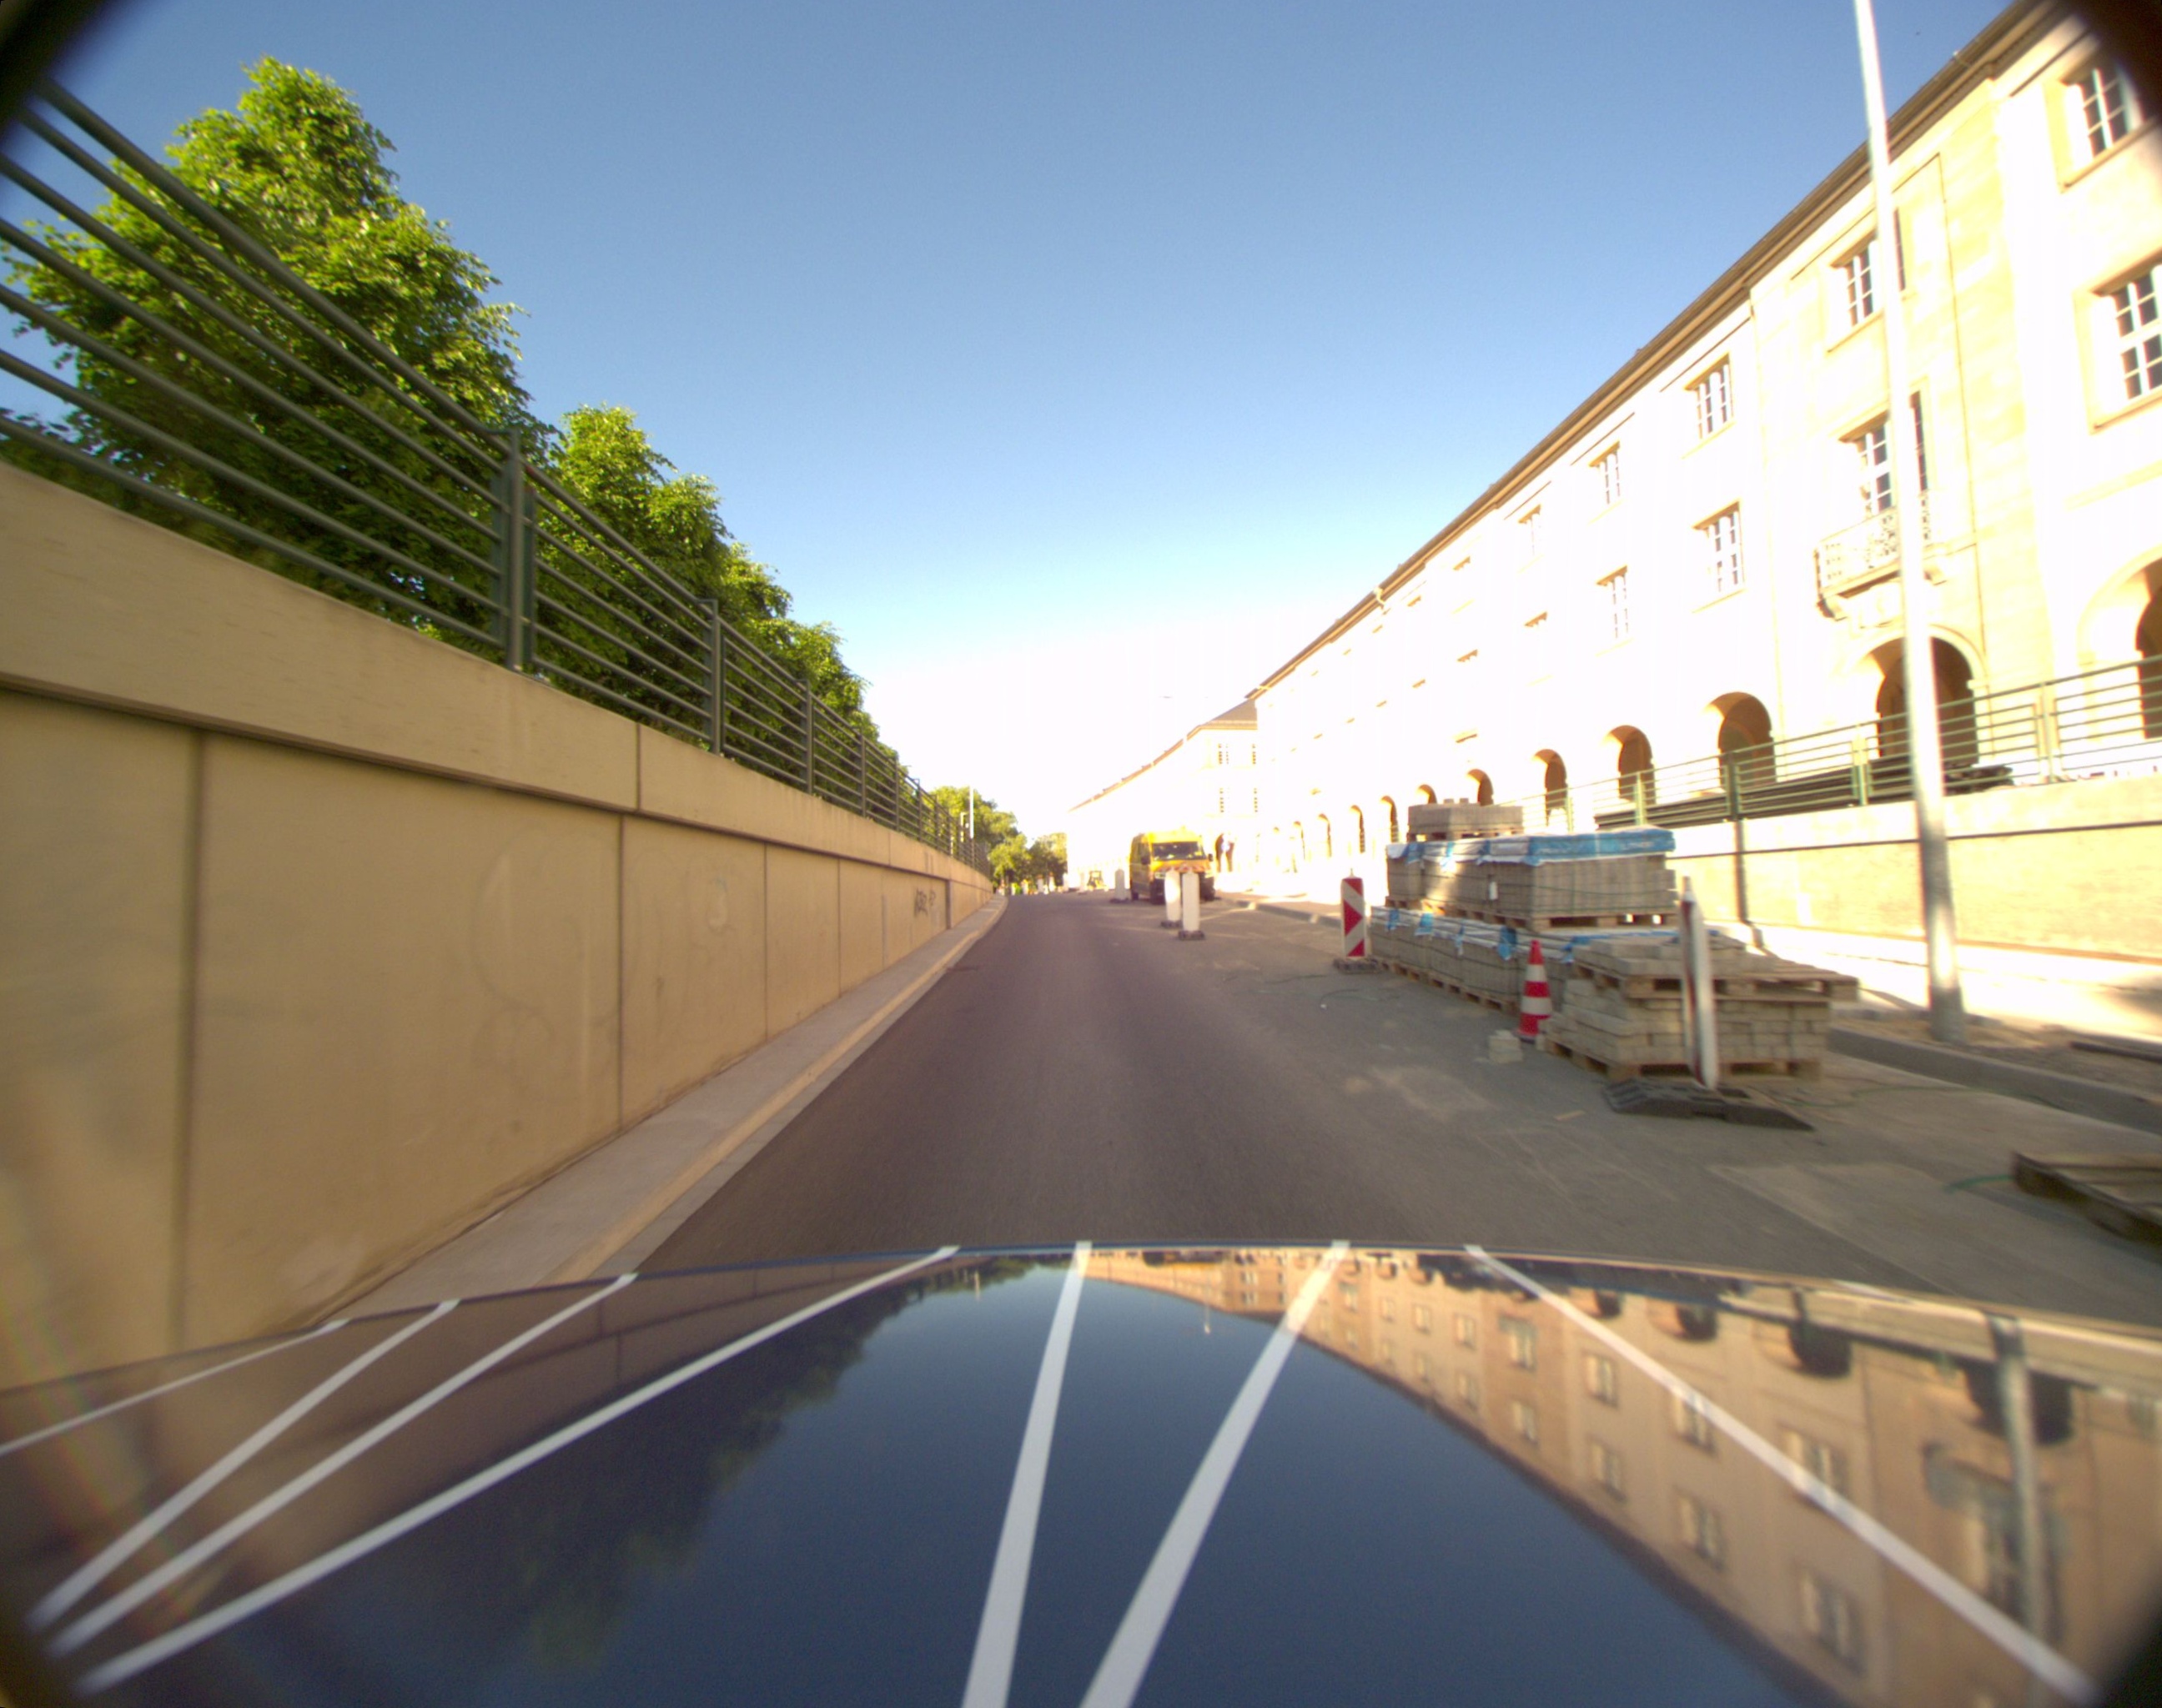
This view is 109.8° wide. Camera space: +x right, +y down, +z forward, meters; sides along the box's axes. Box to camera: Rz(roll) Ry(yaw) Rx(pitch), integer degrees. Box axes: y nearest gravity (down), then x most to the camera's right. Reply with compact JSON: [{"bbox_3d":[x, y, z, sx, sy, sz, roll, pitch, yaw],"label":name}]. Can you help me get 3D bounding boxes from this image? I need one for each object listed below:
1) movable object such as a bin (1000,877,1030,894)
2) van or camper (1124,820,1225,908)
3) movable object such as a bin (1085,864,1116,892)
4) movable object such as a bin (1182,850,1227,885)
[{"bbox_3d":[-8.348,3.990,96.400,3.247,2.063,2.107,0,-3,-23],"label":"movable object such as a bin"},{"bbox_3d":[3.108,0.352,27.081,2.200,2.597,6.823,-4,0,-4],"label":"van or camper"},{"bbox_3d":[1.774,2.273,71.266,1.797,2.437,4.534,0,-3,-13],"label":"movable object such as a bin"},{"bbox_3d":[8.756,0.988,54.076,2.105,2.380,4.307,0,-2,-6],"label":"movable object such as a bin"}]
